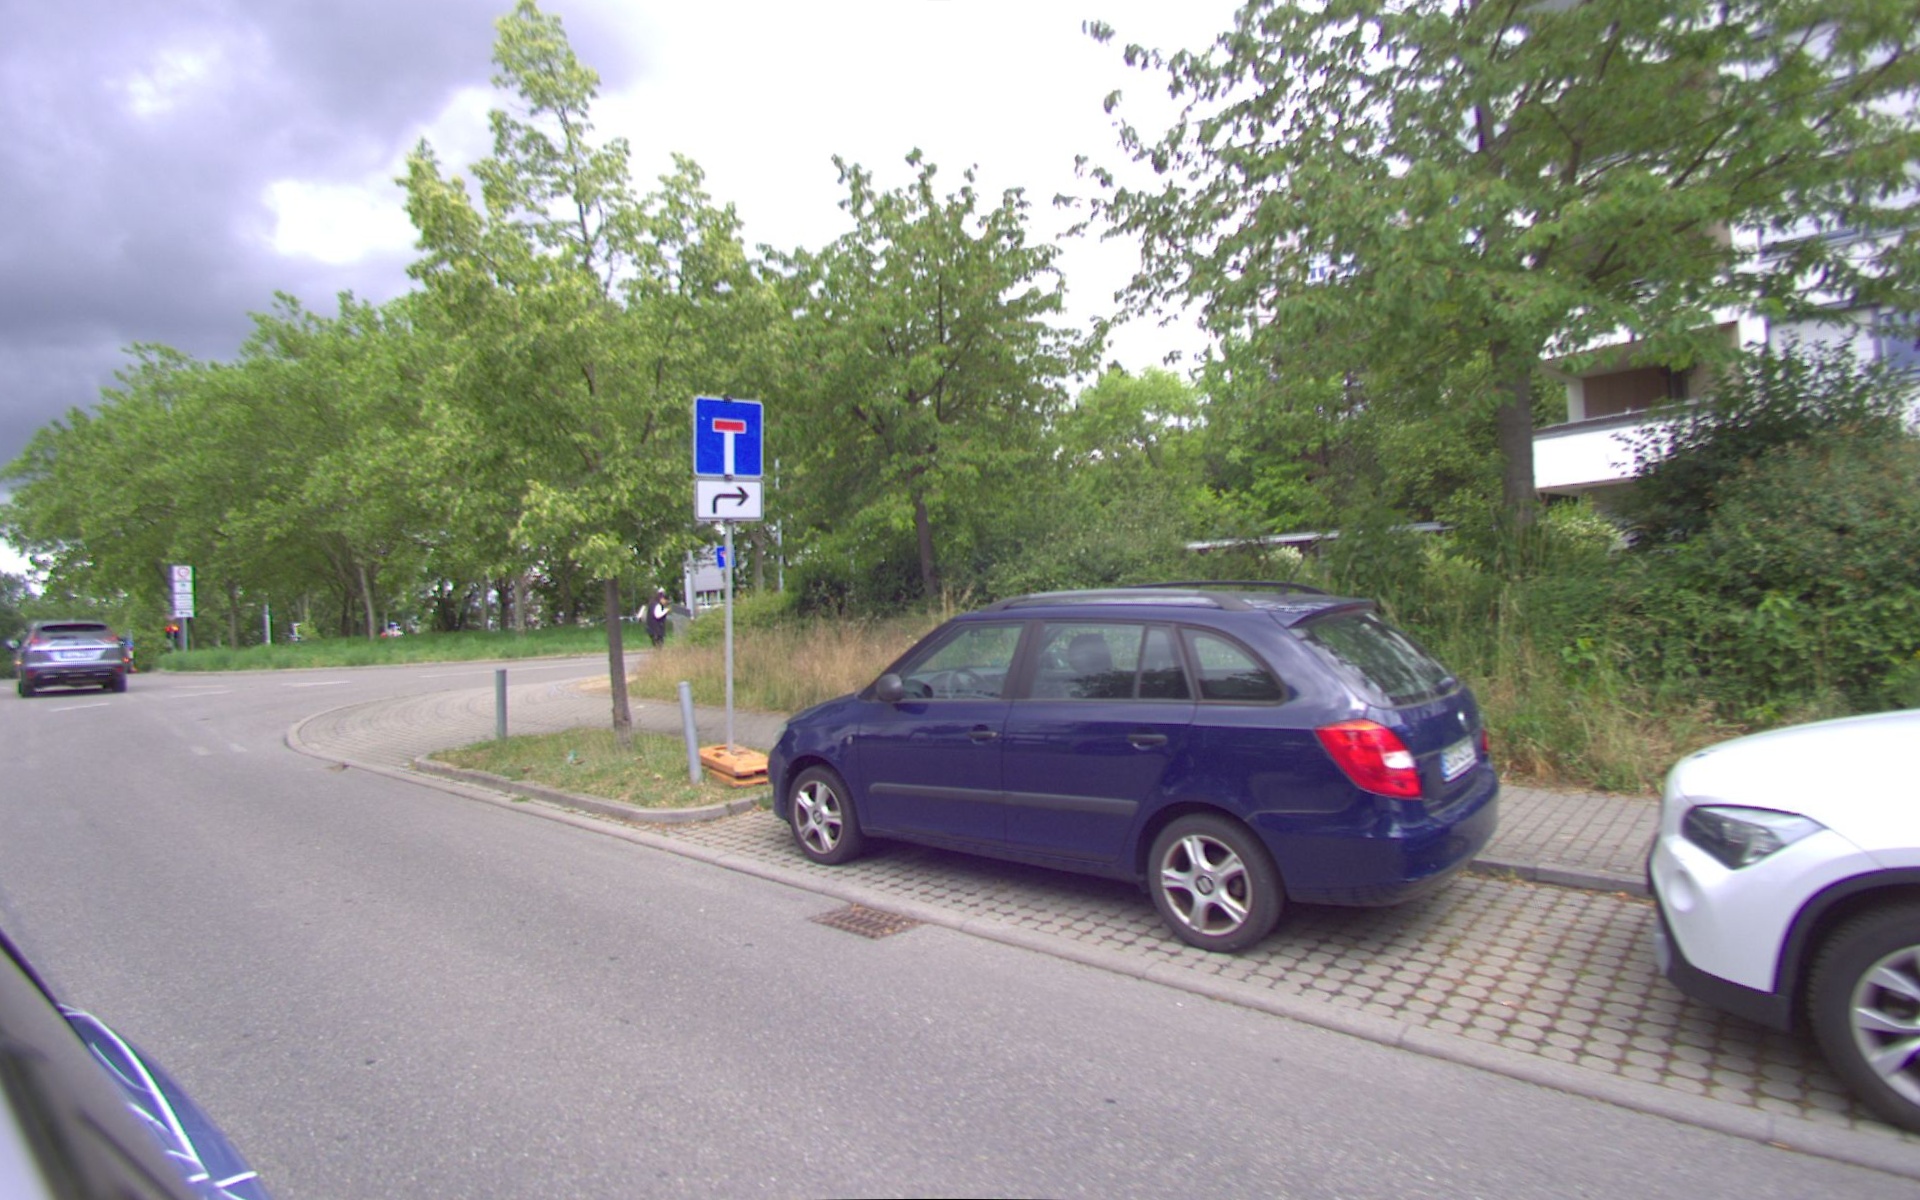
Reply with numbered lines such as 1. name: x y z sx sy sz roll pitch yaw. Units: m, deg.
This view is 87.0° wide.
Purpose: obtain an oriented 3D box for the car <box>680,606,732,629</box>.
1. car: -17.613 1.200 70.350 1.640 1.475 3.978 -3 -1 17

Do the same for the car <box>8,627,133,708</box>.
1. car: -20.194 1.494 22.906 1.874 1.595 4.170 -1 -2 -45

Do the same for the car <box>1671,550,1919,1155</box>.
1. car: 4.214 0.566 2.133 4.229 1.522 1.672 -3 2 42

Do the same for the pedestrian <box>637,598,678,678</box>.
1. pedestrian: -6.351 0.798 21.242 0.707 1.623 0.636 -3 -2 -17

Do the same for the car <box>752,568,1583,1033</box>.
1. car: 0.809 0.730 5.360 3.953 1.498 1.672 -3 2 43

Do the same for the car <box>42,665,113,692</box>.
1. car: -61.495 5.460 70.575 1.629 1.541 3.605 -3 -1 44

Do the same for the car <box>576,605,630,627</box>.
1. car: -25.801 1.112 73.279 1.640 1.475 3.978 -3 -1 17
